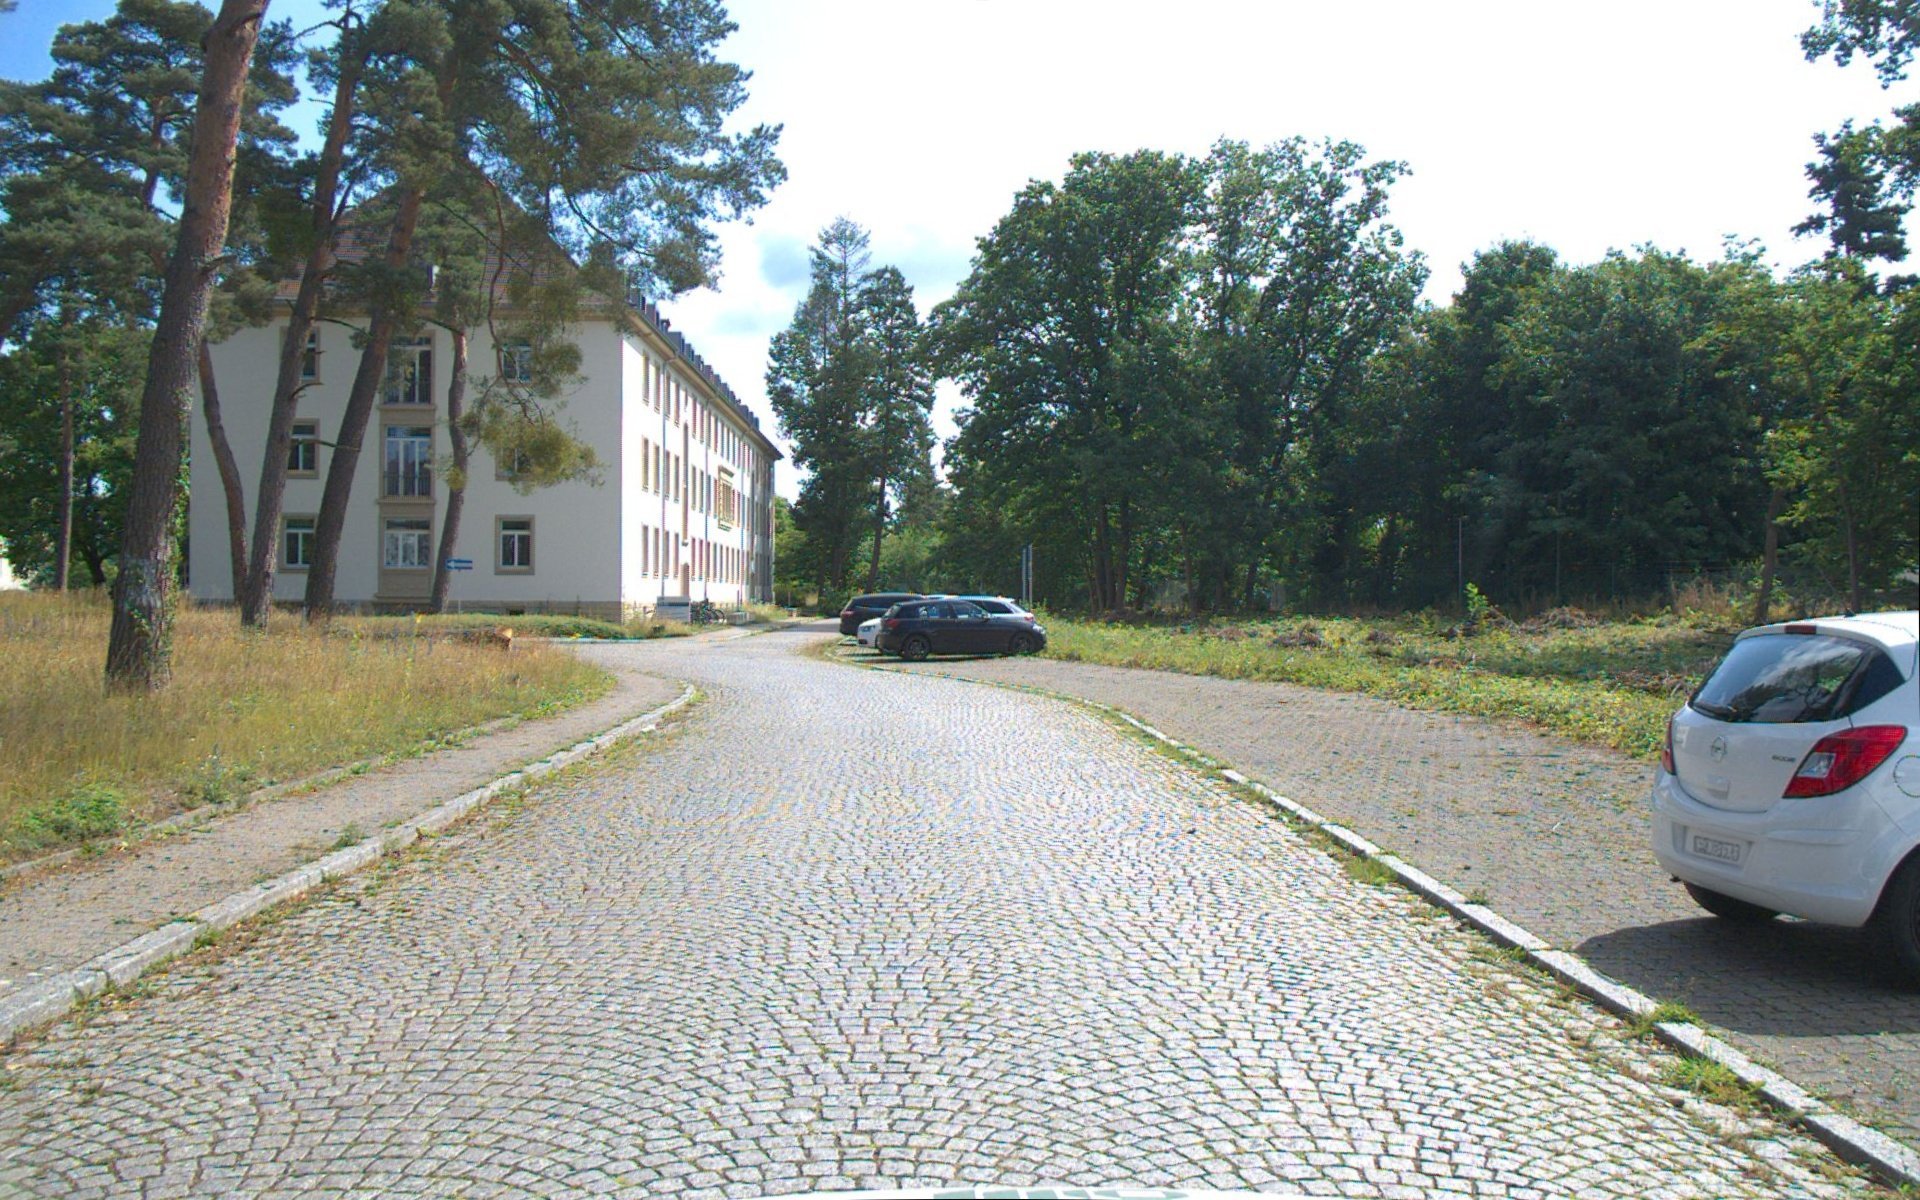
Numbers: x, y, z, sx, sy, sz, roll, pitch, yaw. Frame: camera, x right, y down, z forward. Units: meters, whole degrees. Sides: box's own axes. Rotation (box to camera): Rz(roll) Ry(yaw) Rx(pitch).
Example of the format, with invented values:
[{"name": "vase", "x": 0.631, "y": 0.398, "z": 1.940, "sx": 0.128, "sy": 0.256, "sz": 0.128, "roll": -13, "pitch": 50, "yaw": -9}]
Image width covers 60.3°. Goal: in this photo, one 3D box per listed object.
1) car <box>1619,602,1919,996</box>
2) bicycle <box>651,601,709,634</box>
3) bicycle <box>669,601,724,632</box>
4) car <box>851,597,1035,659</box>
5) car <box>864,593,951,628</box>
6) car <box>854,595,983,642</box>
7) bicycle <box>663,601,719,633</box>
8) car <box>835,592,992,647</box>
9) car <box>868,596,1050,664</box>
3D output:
[{"name": "car", "x": 5.281, "y": 0.748, "z": 7.425, "sx": 3.963, "sy": 1.489, "sz": 1.702, "roll": -1, "pitch": 0, "yaw": -5}, {"name": "bicycle", "x": -11.057, "y": 0.693, "z": 65.323, "sx": 2.175, "sy": 1.282, "sz": 0.623, "roll": 0, "pitch": 0, "yaw": 4}, {"name": "bicycle", "x": -10.836, "y": 0.680, "z": 68.008, "sx": 2.176, "sy": 1.282, "sz": 0.623, "roll": 0, "pitch": 0, "yaw": 0}, {"name": "car", "x": -0.478, "y": 0.712, "z": 44.000, "sx": 4.765, "sy": 1.498, "sz": 1.873, "roll": -1, "pitch": 1, "yaw": -4}, {"name": "car", "x": -2.482, "y": 0.512, "z": 79.419, "sx": 4.101, "sy": 1.570, "sz": 1.820, "roll": -1, "pitch": -1, "yaw": 0}, {"name": "car", "x": -1.438, "y": 0.636, "z": 56.634, "sx": 4.311, "sy": 1.510, "sz": 1.764, "roll": -1, "pitch": -1, "yaw": -4}, {"name": "bicycle", "x": -10.907, "y": 0.695, "z": 67.069, "sx": 2.175, "sy": 1.282, "sz": 0.623, "roll": 0, "pitch": 0, "yaw": 4}, {"name": "car", "x": -1.469, "y": 0.593, "z": 51.317, "sx": 4.756, "sy": 1.580, "sz": 1.878, "roll": -1, "pitch": -1, "yaw": -4}, {"name": "car", "x": -0.046, "y": 0.712, "z": 40.827, "sx": 4.246, "sy": 1.526, "sz": 1.826, "roll": -1, "pitch": 1, "yaw": -10}]
